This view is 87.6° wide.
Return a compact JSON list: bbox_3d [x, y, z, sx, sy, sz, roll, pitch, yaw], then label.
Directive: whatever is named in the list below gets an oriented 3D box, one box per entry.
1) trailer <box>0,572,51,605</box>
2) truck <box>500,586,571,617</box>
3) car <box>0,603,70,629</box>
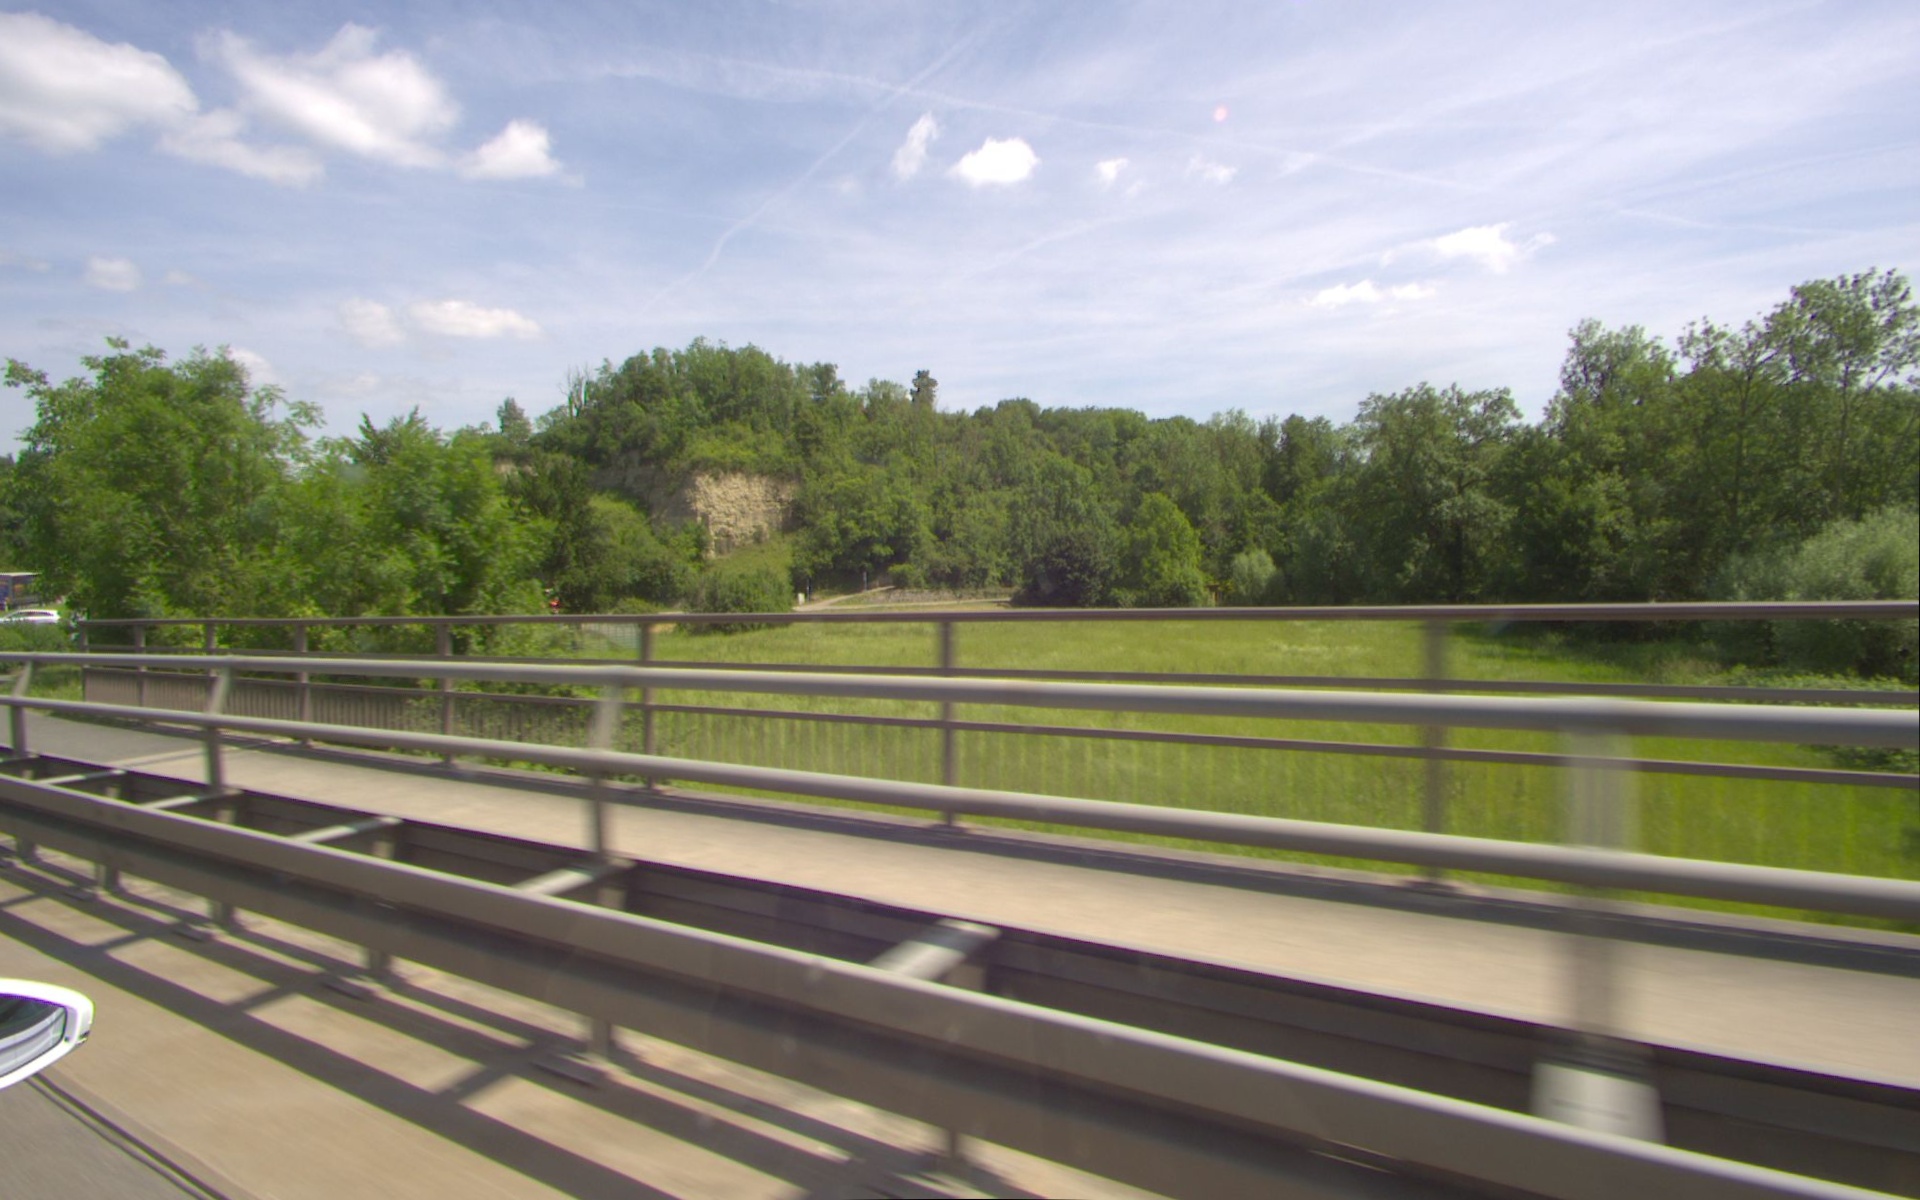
[{"bbox_3d":[-108.670,-1.265,115.461,3.211,3.734,9.212,0,0,-26],"label":"trailer"},{"bbox_3d":[-40.252,0.189,95.061,5.945,2.762,2.489,1,-2,-31],"label":"truck"},{"bbox_3d":[-66.176,1.137,71.082,4.398,1.740,1.982,1,-3,-43],"label":"car"}]
